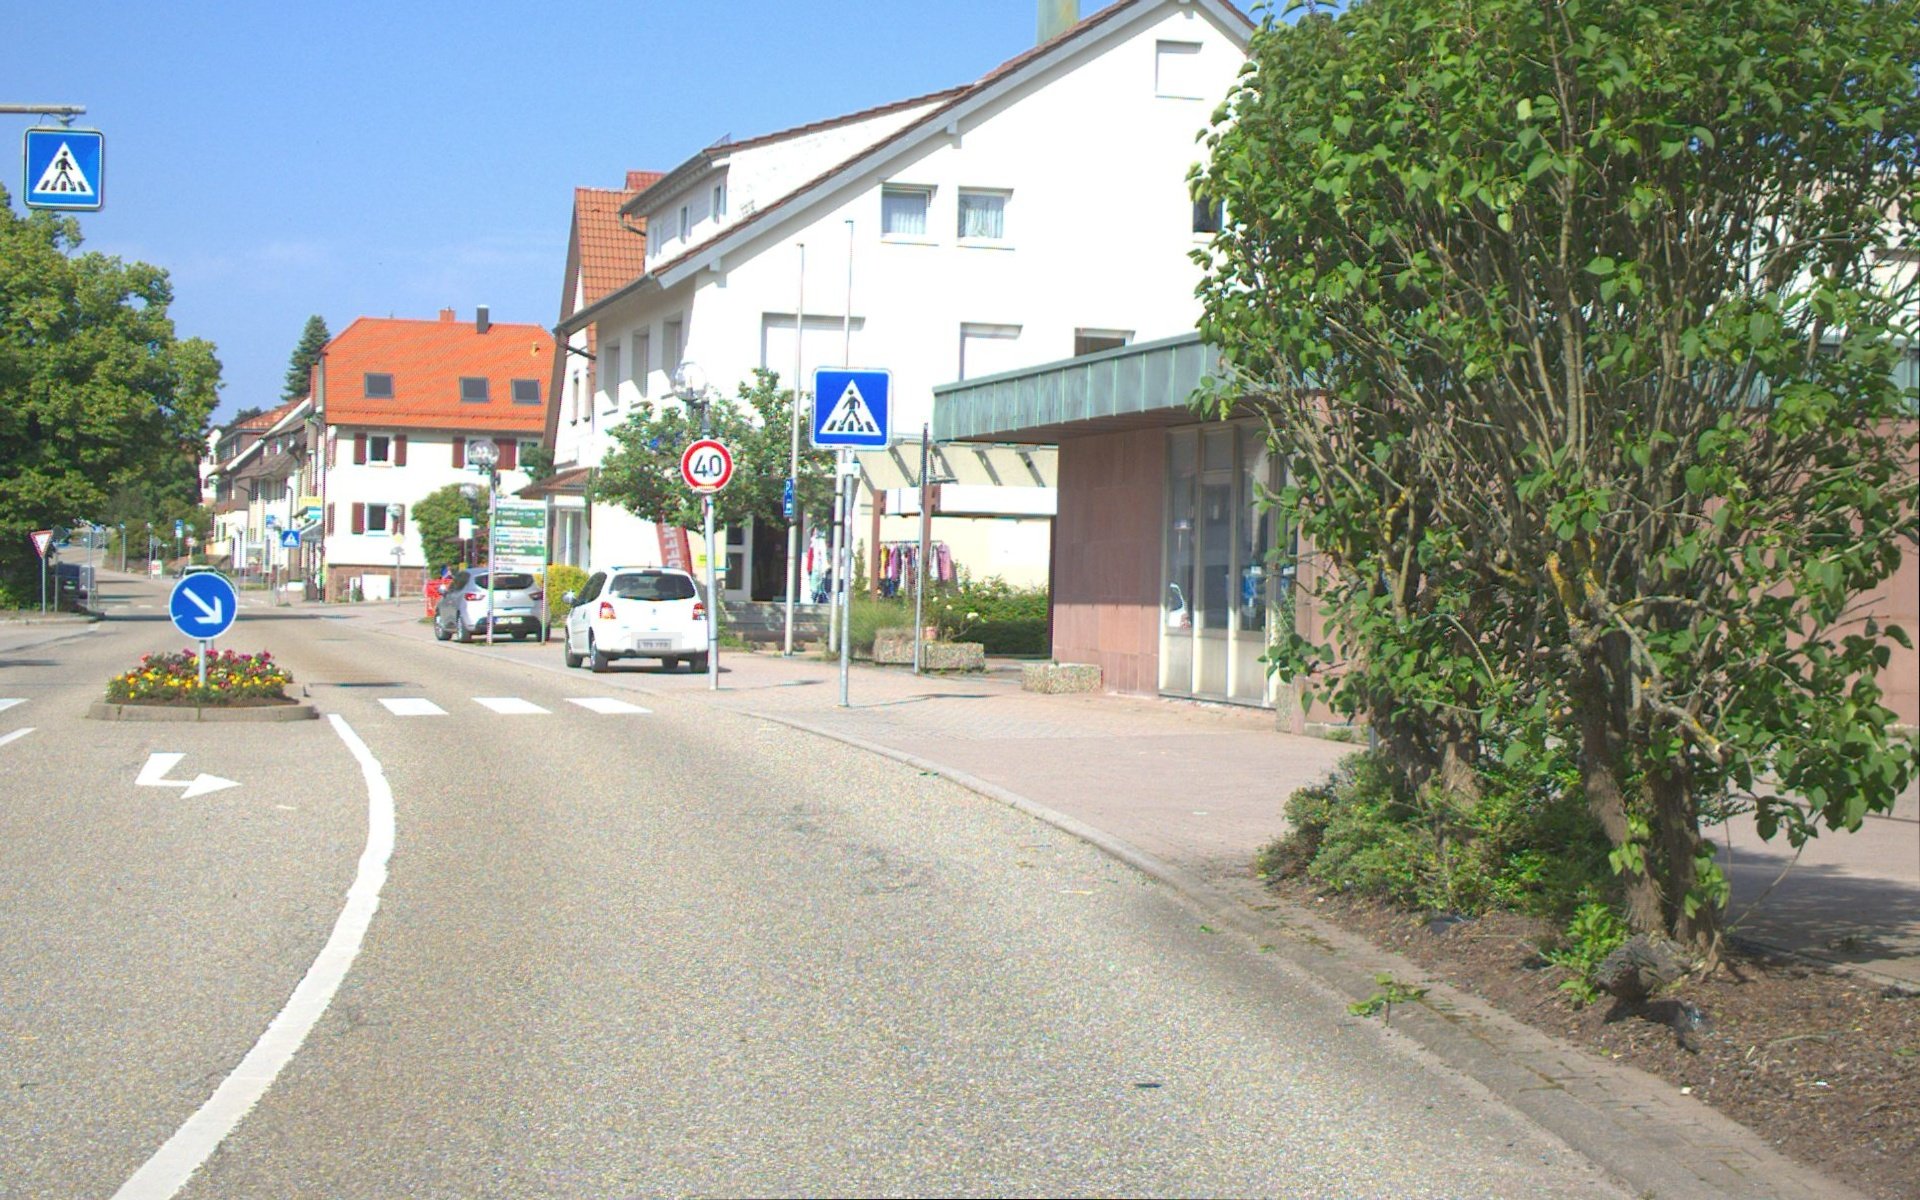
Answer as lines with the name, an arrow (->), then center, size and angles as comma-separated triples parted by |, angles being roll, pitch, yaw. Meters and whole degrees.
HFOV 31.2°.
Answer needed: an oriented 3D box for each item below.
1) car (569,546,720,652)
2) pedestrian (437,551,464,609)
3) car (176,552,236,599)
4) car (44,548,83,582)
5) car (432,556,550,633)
car -> -4.506, -0.040, 48.693 | 1.760, 1.418, 3.635 | -1, 1, -11
pedestrian -> -15.768, -0.628, 106.403 | 0.799, 1.778, 0.980 | 0, 1, -9
car -> -33.943, -1.109, 154.734 | 2.495, 2.007, 4.306 | -2, 1, -14
car -> -43.671, -1.709, 167.502 | 1.672, 1.528, 3.536 | 5, -1, -14
car -> -9.095, -0.129, 66.480 | 1.635, 1.415, 3.936 | -1, 1, -17
